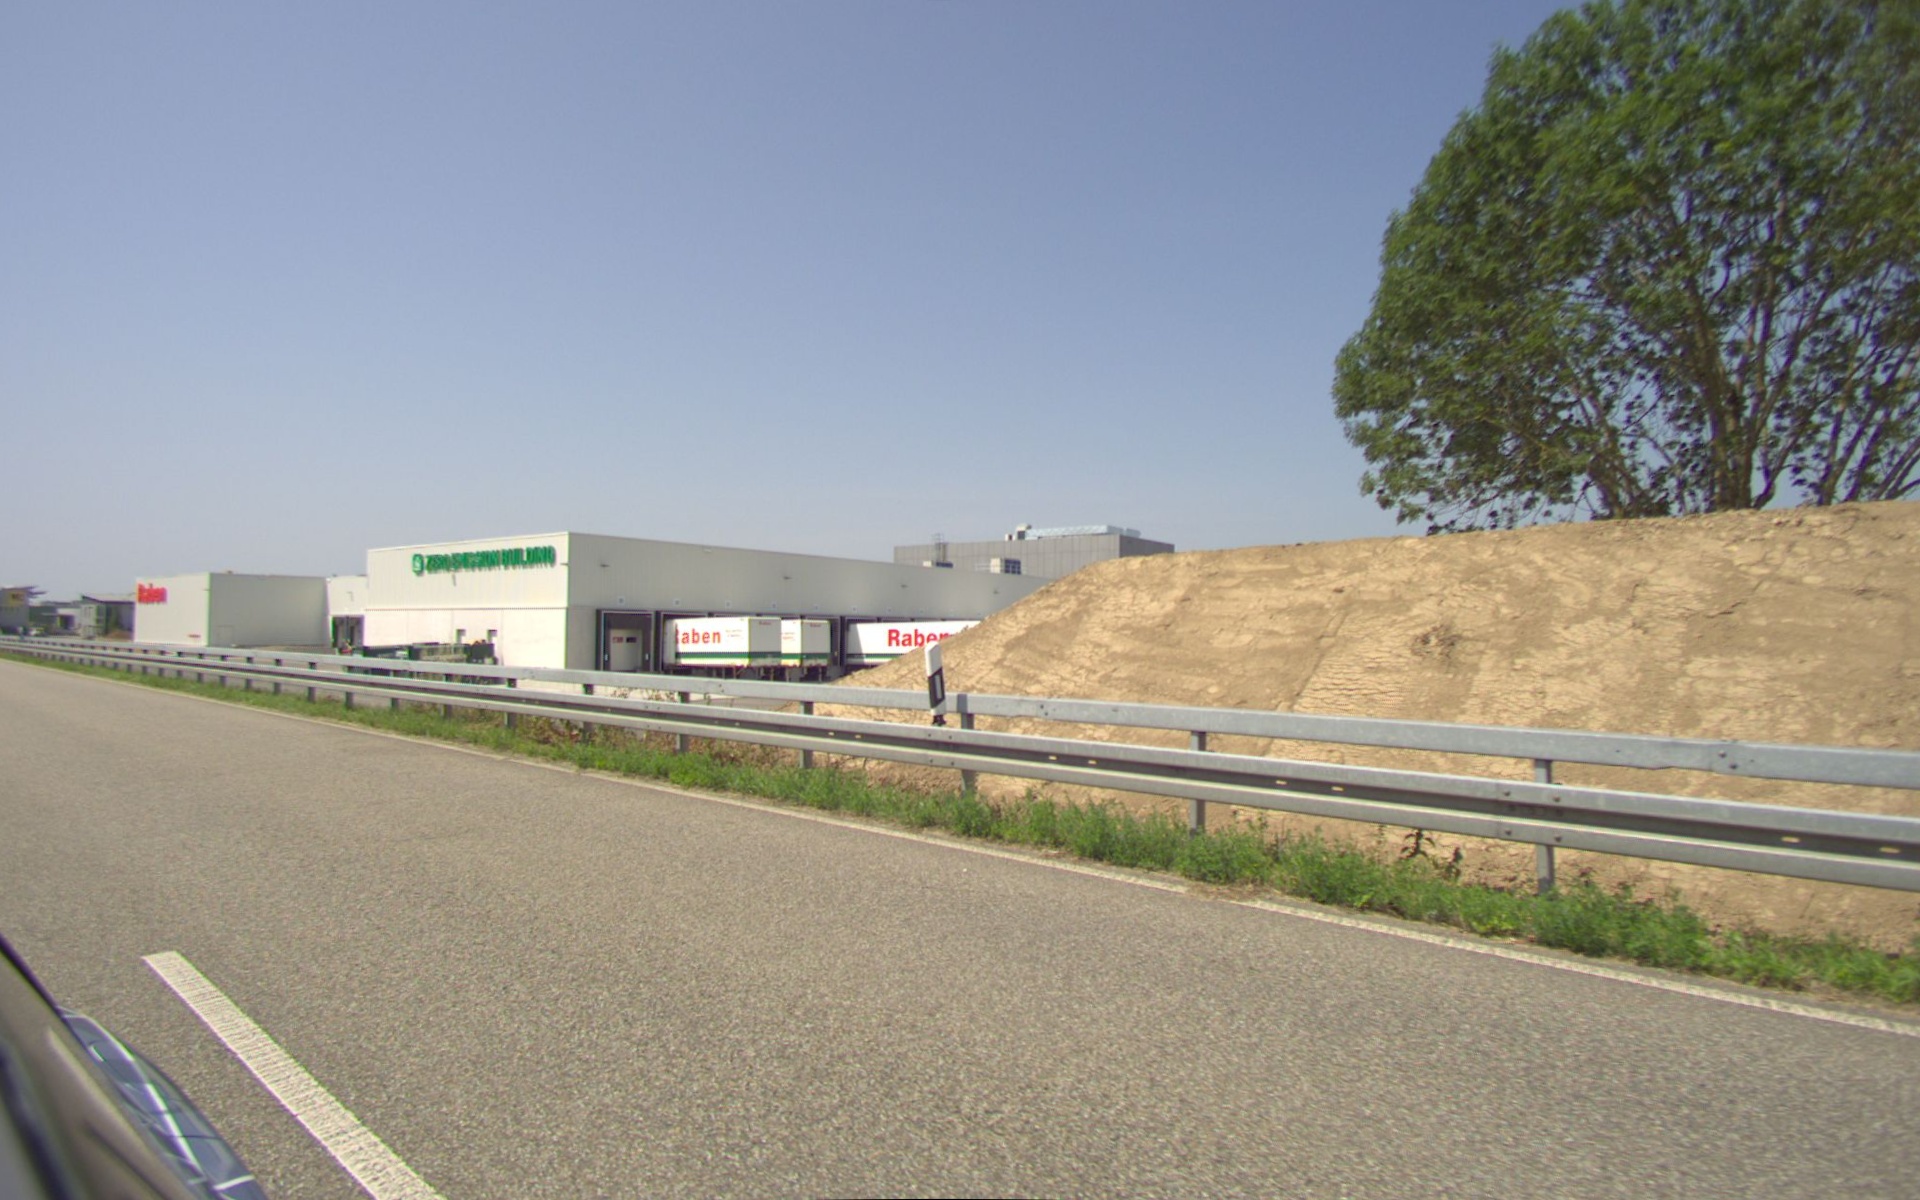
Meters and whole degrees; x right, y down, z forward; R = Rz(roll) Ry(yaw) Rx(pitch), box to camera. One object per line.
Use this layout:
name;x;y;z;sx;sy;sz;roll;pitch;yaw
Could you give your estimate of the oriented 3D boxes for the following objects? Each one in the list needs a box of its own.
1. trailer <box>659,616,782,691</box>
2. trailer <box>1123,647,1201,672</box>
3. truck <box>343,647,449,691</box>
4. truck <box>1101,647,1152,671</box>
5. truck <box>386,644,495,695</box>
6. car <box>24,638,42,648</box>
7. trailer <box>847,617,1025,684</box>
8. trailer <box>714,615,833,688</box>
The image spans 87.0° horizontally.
trailer;-13.872;2.955;58.309;7.567;4.018;2.639;0;-1;36
trailer;17.428;5.156;87.483;6.451;2.029;1.974;-2;-5;39
truck;-32.978;3.983;59.266;2.231;2.351;4.956;-2;-2;41
truck;14.731;5.217;89.645;3.995;2.029;1.974;-2;-5;39
truck;-29.346;3.851;57.295;2.270;2.556;4.997;-1;-1;38
car;-155.428;7.229;169.683;3.306;1.686;1.537;-1;-3;36
trailer;-1.875;3.407;69.172;13.363;4.237;2.639;-2;-3;37
trailer;-11.400;3.054;61.612;7.567;4.124;2.639;0;-1;36
